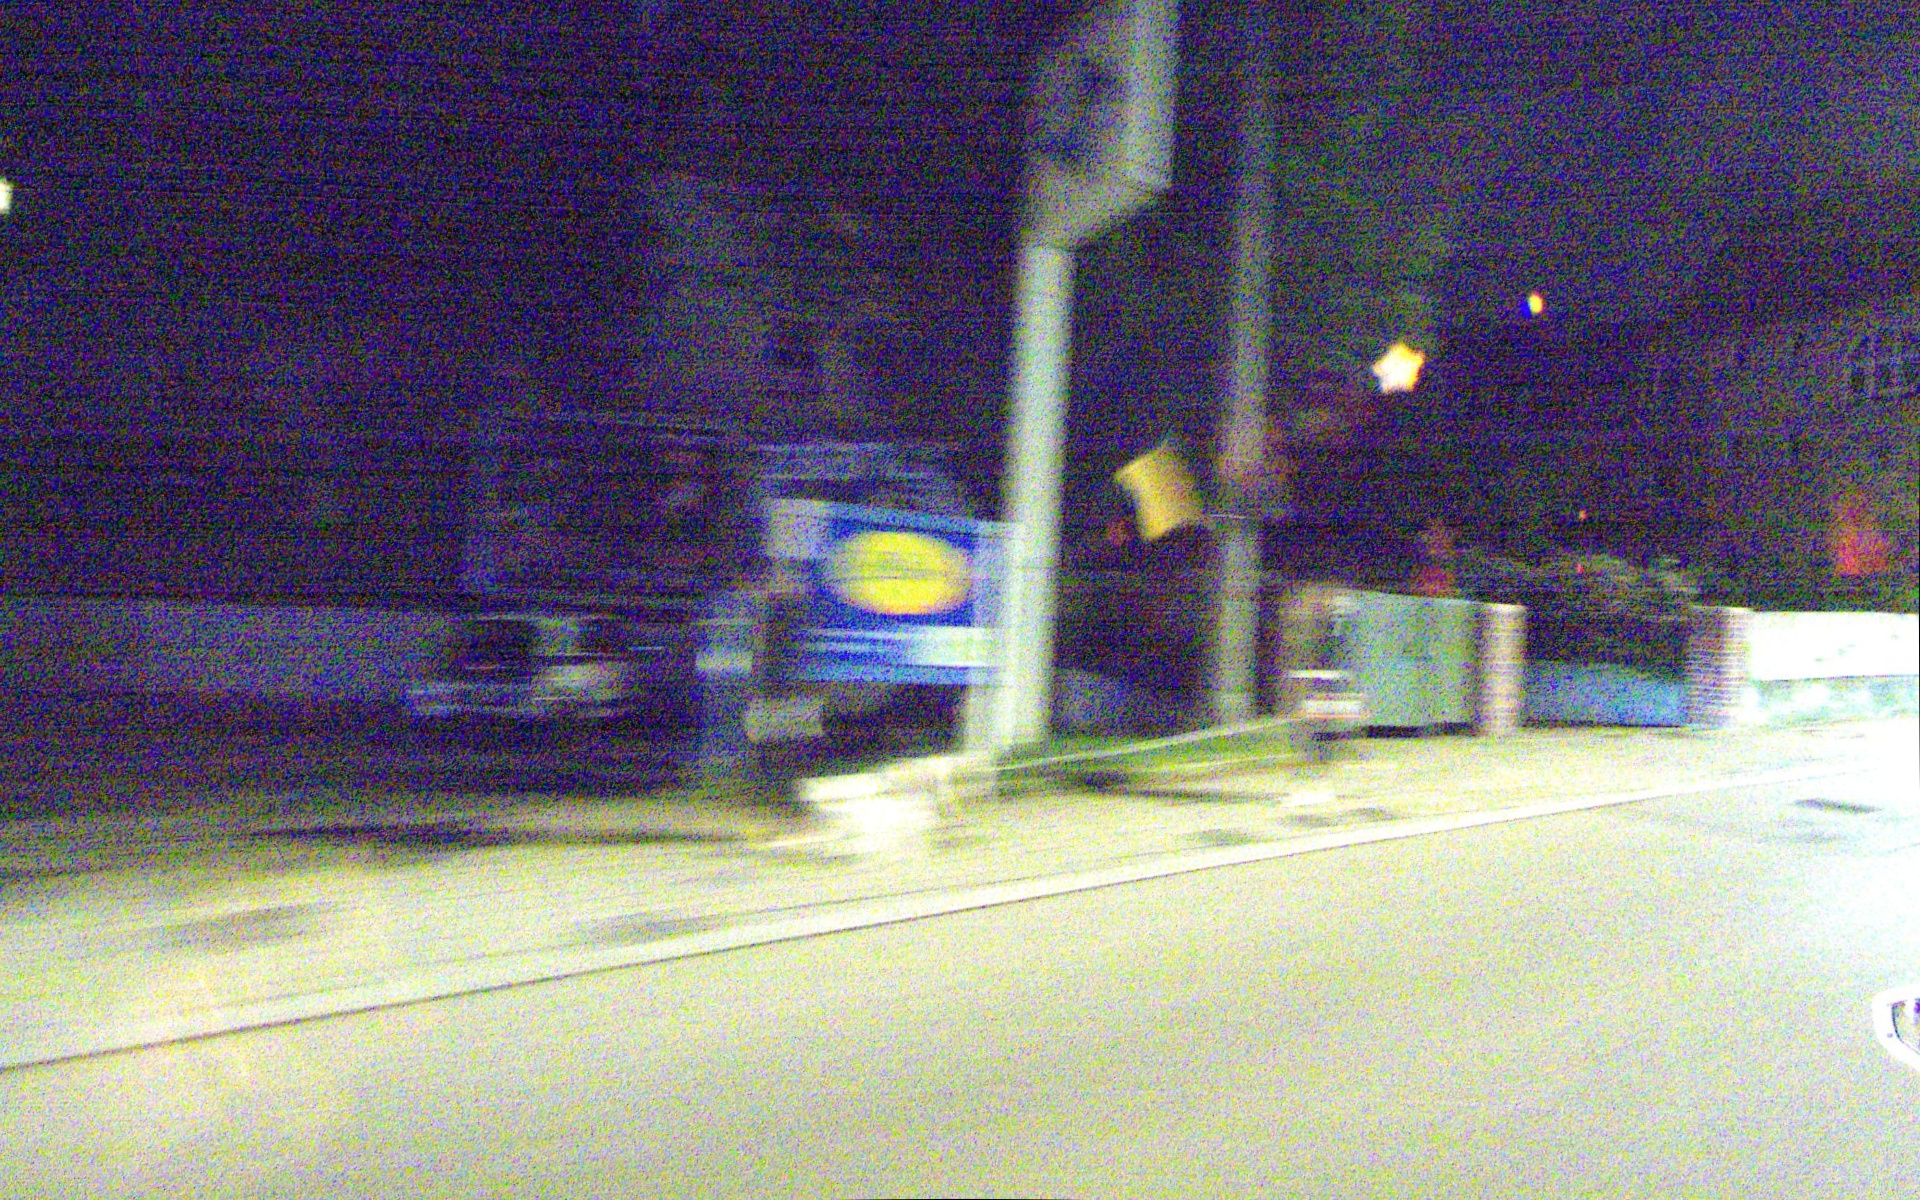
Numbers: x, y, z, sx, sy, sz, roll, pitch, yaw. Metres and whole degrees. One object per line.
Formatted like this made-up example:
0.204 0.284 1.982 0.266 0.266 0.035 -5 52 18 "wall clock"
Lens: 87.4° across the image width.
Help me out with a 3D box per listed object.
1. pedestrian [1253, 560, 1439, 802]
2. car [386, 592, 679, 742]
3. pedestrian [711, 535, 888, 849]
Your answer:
2.913 0.579 7.590 1.089 1.694 0.739 2 0 -28 "pedestrian"
-5.092 0.760 12.508 1.960 1.557 3.342 1 -1 5 "car"
-0.981 0.520 6.099 0.856 1.749 0.665 1 0 -30 "pedestrian"
